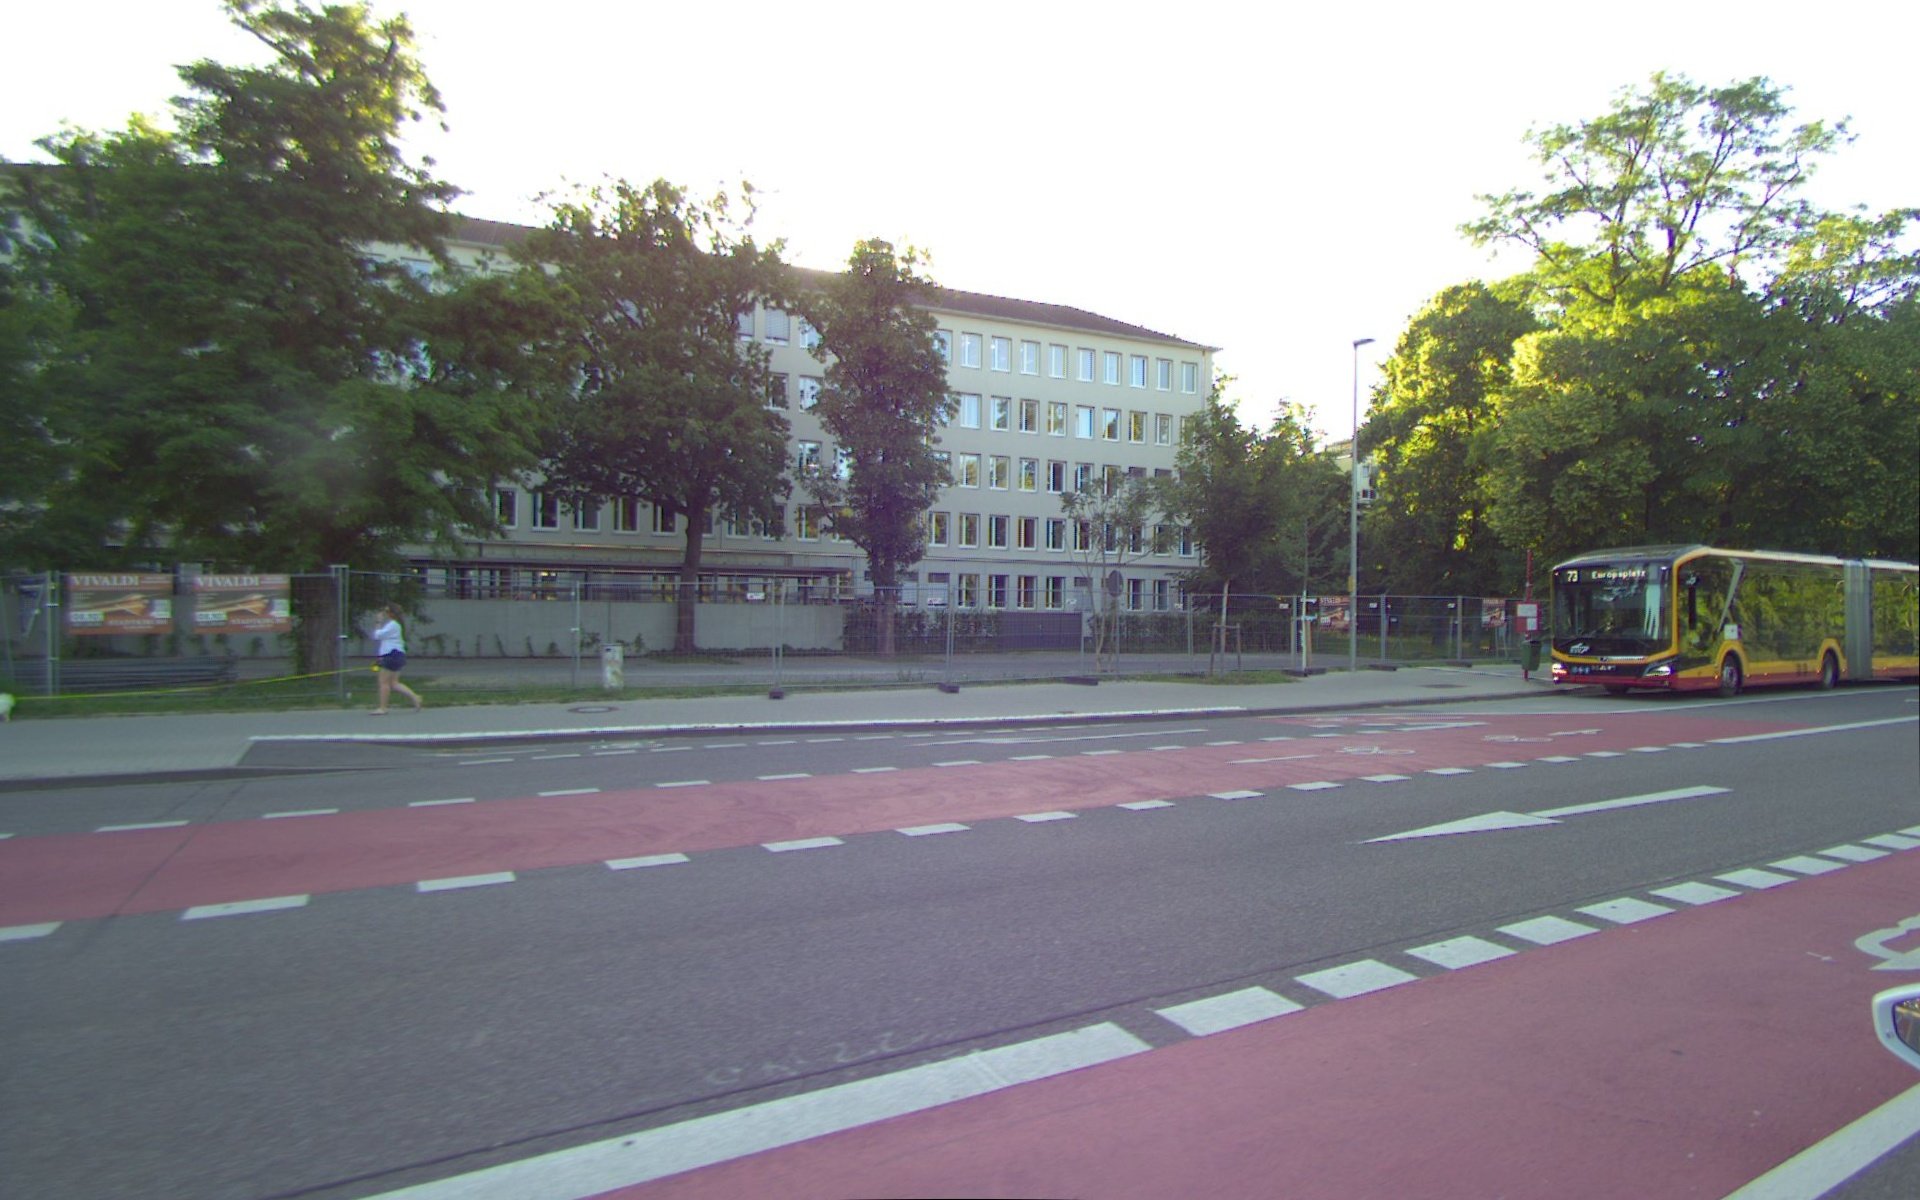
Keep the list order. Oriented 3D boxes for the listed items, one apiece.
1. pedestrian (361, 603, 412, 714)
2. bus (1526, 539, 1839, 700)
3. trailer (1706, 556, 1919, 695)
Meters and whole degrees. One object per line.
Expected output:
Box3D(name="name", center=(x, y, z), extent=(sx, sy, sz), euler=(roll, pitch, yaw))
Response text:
Box3D(name="pedestrian", center=(-8.197, 0.821, 14.355), extent=(0.566, 1.554, 0.448), euler=(1, -1, -35))
Box3D(name="bus", center=(17.134, 0.479, 23.615), extent=(8.499, 3.239, 2.827), euler=(1, -1, -31))
Box3D(name="trailer", center=(24.800, 0.699, 28.066), extent=(9.251, 3.400, 2.841), euler=(2, 1, -30))
